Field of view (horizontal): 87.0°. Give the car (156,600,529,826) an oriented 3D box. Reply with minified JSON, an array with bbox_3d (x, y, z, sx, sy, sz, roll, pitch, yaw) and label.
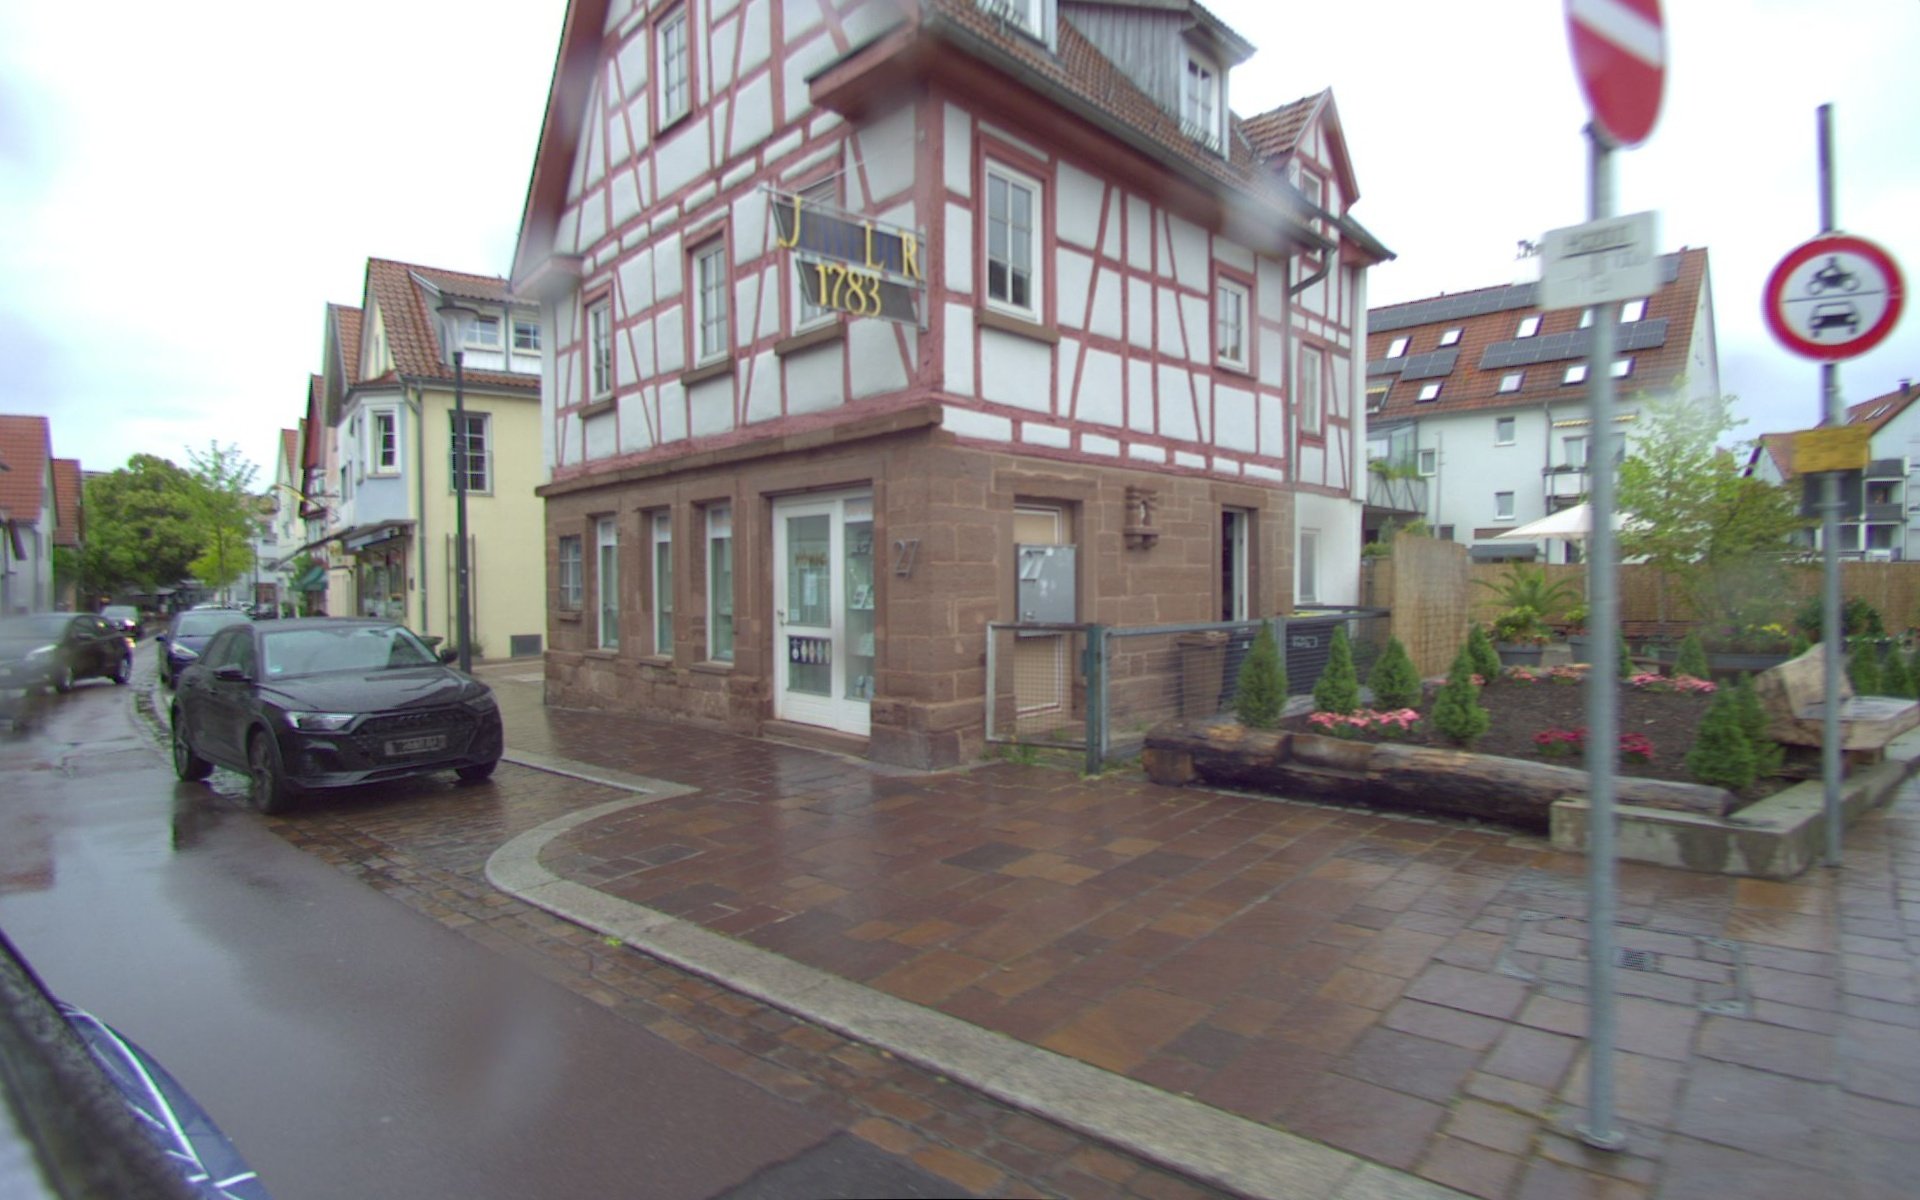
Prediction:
[{"bbox_3d":[-5.589,0.805,8.951,3.998,1.497,1.672,-1,2,42],"label":"car"}]

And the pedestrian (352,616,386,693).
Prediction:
[{"bbox_3d":[-10.333,0.938,17.690,0.448,1.317,0.518,0,0,-38],"label":"pedestrian"}]

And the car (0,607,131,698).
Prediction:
[{"bbox_3d":[-17.663,0.932,19.343,1.707,1.567,3.857,-1,0,-22],"label":"car"}]

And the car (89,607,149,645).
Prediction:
[{"bbox_3d":[-41.007,1.250,49.403,1.967,1.763,4.009,-1,0,-36],"label":"car"}]

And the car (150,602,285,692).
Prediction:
[{"bbox_3d":[-15.348,0.882,20.828,1.969,1.540,4.007,-4,2,-39],"label":"car"}]

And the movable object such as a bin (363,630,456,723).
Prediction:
[{"bbox_3d":[-7.128,0.958,13.101,0.919,1.120,0.823,-1,0,43],"label":"movable object such as a bin"}]
